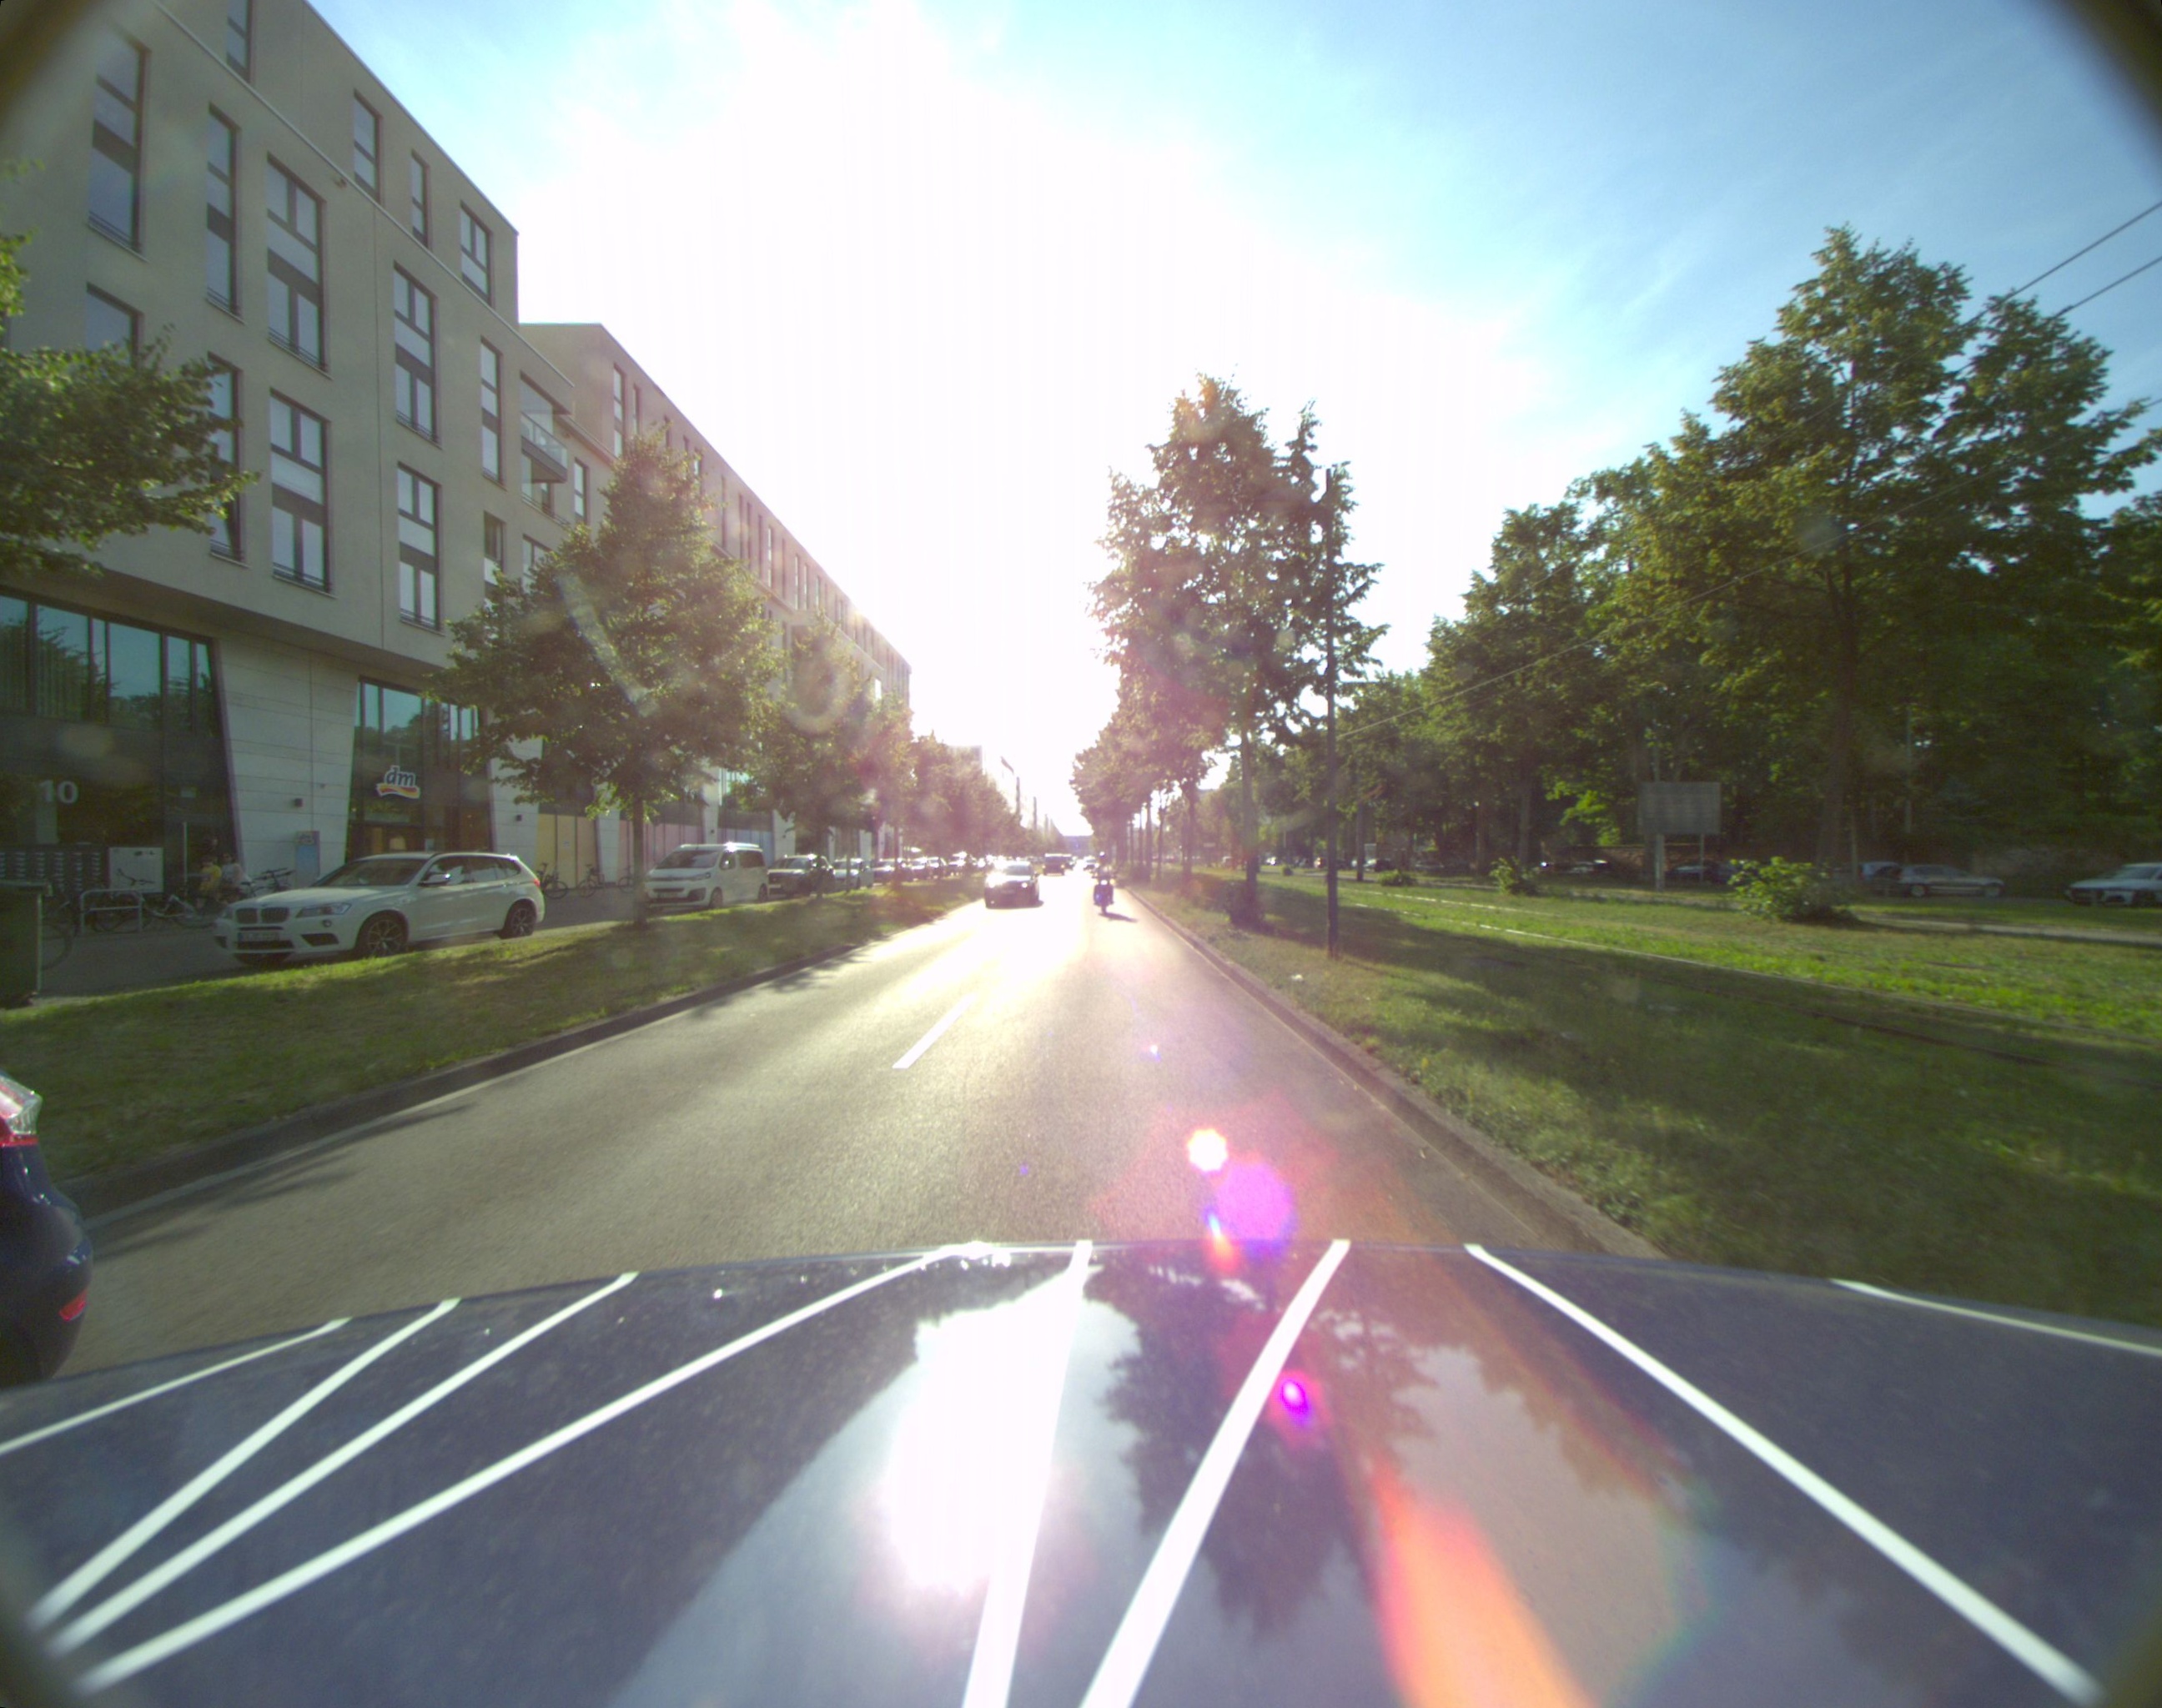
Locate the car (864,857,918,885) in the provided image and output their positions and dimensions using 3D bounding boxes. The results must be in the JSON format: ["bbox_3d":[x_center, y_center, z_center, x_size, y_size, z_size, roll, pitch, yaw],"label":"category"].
[{"bbox_3d":[-10.892,0.941,43.924,1.732,1.424,4.722,-2,1,2],"label":"car"}]

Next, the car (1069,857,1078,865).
[{"bbox_3d":[-1.580,1.523,160.924,1.840,1.521,4.328,-2,1,0],"label":"car"}]

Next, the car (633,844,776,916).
[{"bbox_3d":[-11.012,0.676,22.721,1.842,1.865,5.030,-2,1,-2],"label":"car"}]

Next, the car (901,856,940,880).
[{"bbox_3d":[-10.831,0.899,51.414,1.733,1.424,4.113,-2,1,0],"label":"car"}]

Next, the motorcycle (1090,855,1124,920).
[{"bbox_3d":[0.713,0.888,21.497,0.798,1.659,2.634,-2,1,-1],"label":"motorcycle"}]

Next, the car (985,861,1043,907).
[{"bbox_3d":[-2.377,1.047,27.805,1.698,1.416,4.039,-2,1,0],"label":"car"}]

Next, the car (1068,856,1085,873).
[{"bbox_3d":[-0.489,1.253,92.747,1.909,2.002,4.000,-2,1,1],"label":"car"}]

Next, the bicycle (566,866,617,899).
[{"bbox_3d":[-18.080,1.024,28.110,0.420,1.093,2.108,3,1,1],"label":"bicycle"}]

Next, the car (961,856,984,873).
[{"bbox_3d":[-10.696,1.001,75.225,1.765,1.479,4.209,-2,1,-2],"label":"car"}]

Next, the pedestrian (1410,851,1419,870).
[{"bbox_3d":[25.912,0.507,59.016,0.387,1.467,0.602,-2,1,0],"label":"pedestrian"}]

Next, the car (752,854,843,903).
[{"bbox_3d":[-10.859,0.892,29.407,1.732,1.640,4.339,-2,1,1],"label":"car"}]

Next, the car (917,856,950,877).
[{"bbox_3d":[-11.076,0.908,57.339,1.873,1.483,4.413,-2,1,-4],"label":"car"}]

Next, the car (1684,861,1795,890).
[{"bbox_3d":[36.494,1.136,42.241,1.793,1.434,4.354,-2,1,-19],"label":"car"}]

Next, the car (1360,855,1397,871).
[{"bbox_3d":[28.201,0.836,72.109,1.835,1.423,4.474,-2,1,2],"label":"car"}]

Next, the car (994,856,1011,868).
[{"bbox_3d":[-10.615,1.090,102.860,1.840,1.521,4.328,-2,1,0],"label":"car"}]

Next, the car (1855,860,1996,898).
[{"bbox_3d":[36.675,1.066,33.089,3.865,1.477,1.744,-2,1,8],"label":"car"}]

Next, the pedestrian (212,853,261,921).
[{"bbox_3d":[-19.833,0.764,17.848,0.515,1.565,0.539,-2,1,-19],"label":"pedestrian"}]

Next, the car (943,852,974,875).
[{"bbox_3d":[-11.068,0.821,68.868,1.899,1.863,4.844,-2,1,0],"label":"car"}]

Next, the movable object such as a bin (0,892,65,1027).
[{"bbox_3d":[-10.830,1.021,7.108,1.399,1.229,1.338,-2,1,28],"label":"movable object such as a bin"}]

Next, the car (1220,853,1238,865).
[{"bbox_3d":[18.216,0.587,93.587,1.587,1.385,3.696,-2,1,1],"label":"car"}]

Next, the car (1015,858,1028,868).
[{"bbox_3d":[-10.254,1.500,130.799,1.840,1.521,4.328,-2,1,0],"label":"car"}]

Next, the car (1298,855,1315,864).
[{"bbox_3d":[31.054,0.723,104.736,1.301,1.101,3.772,-2,1,3],"label":"car"}]

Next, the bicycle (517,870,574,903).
[{"bbox_3d":[-18.141,1.091,25.771,0.419,0.995,2.043,3,1,1],"label":"bicycle"}]

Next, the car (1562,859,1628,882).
[{"bbox_3d":[35.823,1.112,53.118,1.790,1.434,4.361,-2,1,3],"label":"car"}]

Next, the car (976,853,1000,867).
[{"bbox_3d":[-10.501,0.673,85.859,1.764,1.479,4.920,-2,1,4],"label":"car"}]

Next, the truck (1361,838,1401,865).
[{"bbox_3d":[40.972,-0.347,104.038,2.895,3.495,7.946,-2,1,5],"label":"truck"}]

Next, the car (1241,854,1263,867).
[{"bbox_3d":[21.373,0.819,95.188,1.686,1.467,4.812,2,1,1],"label":"car"}]

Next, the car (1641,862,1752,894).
[{"bbox_3d":[30.512,1.157,37.810,1.688,1.427,4.030,-2,1,-15],"label":"car"}]

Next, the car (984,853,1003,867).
[{"bbox_3d":[-10.580,0.689,92.258,1.764,1.588,4.328,-2,1,0],"label":"car"}]

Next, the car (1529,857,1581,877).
[{"bbox_3d":[36.518,0.983,58.612,1.722,1.434,3.912,-2,1,3],"label":"car"}]

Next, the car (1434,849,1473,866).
[{"bbox_3d":[37.251,0.348,76.101,1.835,1.602,4.474,-2,1,2],"label":"car"}]

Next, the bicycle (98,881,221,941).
[{"bbox_3d":[-18.472,1.116,15.272,0.347,1.068,1.516,-1,1,42],"label":"bicycle"}]

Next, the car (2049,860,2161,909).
[{"bbox_3d":[35.650,1.011,25.589,3.655,1.420,1.810,-2,1,3],"label":"car"}]

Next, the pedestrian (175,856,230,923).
[{"bbox_3d":[-20.473,0.814,17.714,0.515,1.513,0.597,-2,1,0],"label":"pedestrian"}]

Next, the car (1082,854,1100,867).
[{"bbox_3d":[1.106,0.710,86.287,1.756,1.427,4.034,-2,1,-2],"label":"car"}]

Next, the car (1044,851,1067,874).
[{"bbox_3d":[-2.250,0.718,68.759,1.803,1.880,4.821,-2,1,0],"label":"car"}]

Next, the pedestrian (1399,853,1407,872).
[{"bbox_3d":[25.021,0.626,59.045,0.387,1.467,0.602,-2,1,0],"label":"pedestrian"}]

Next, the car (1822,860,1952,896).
[{"bbox_3d":[37.335,1.101,35.286,3.865,1.477,1.744,-2,1,8],"label":"car"}]

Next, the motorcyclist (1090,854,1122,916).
[{"bbox_3d":[0.707,0.863,21.621,0.814,1.699,0.843,-2,1,-1],"label":"motorcyclist"}]

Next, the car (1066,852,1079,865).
[{"bbox_3d":[-1.307,0.670,121.123,1.998,2.002,3.999,-2,1,0],"label":"car"}]

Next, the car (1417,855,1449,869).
[{"bbox_3d":[37.823,0.828,81.771,1.701,1.367,4.386,-2,1,4],"label":"car"}]

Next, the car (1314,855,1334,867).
[{"bbox_3d":[30.073,0.836,94.075,1.586,1.269,3.961,-2,1,7],"label":"car"}]

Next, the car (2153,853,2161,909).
[{"bbox_3d":[36.402,0.771,22.976,5.071,1.725,1.886,-2,1,3],"label":"car"}]

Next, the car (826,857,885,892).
[{"bbox_3d":[-10.464,0.910,35.558,1.620,1.404,4.166,-2,1,-2],"label":"car"}]

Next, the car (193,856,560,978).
[{"bbox_3d":[-11.178,0.857,12.697,1.735,1.620,4.849,0,0,-2],"label":"car"}]

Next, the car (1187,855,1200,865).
[{"bbox_3d":[18.640,1.005,126.182,1.614,1.523,4.132,-2,1,1],"label":"car"}]
